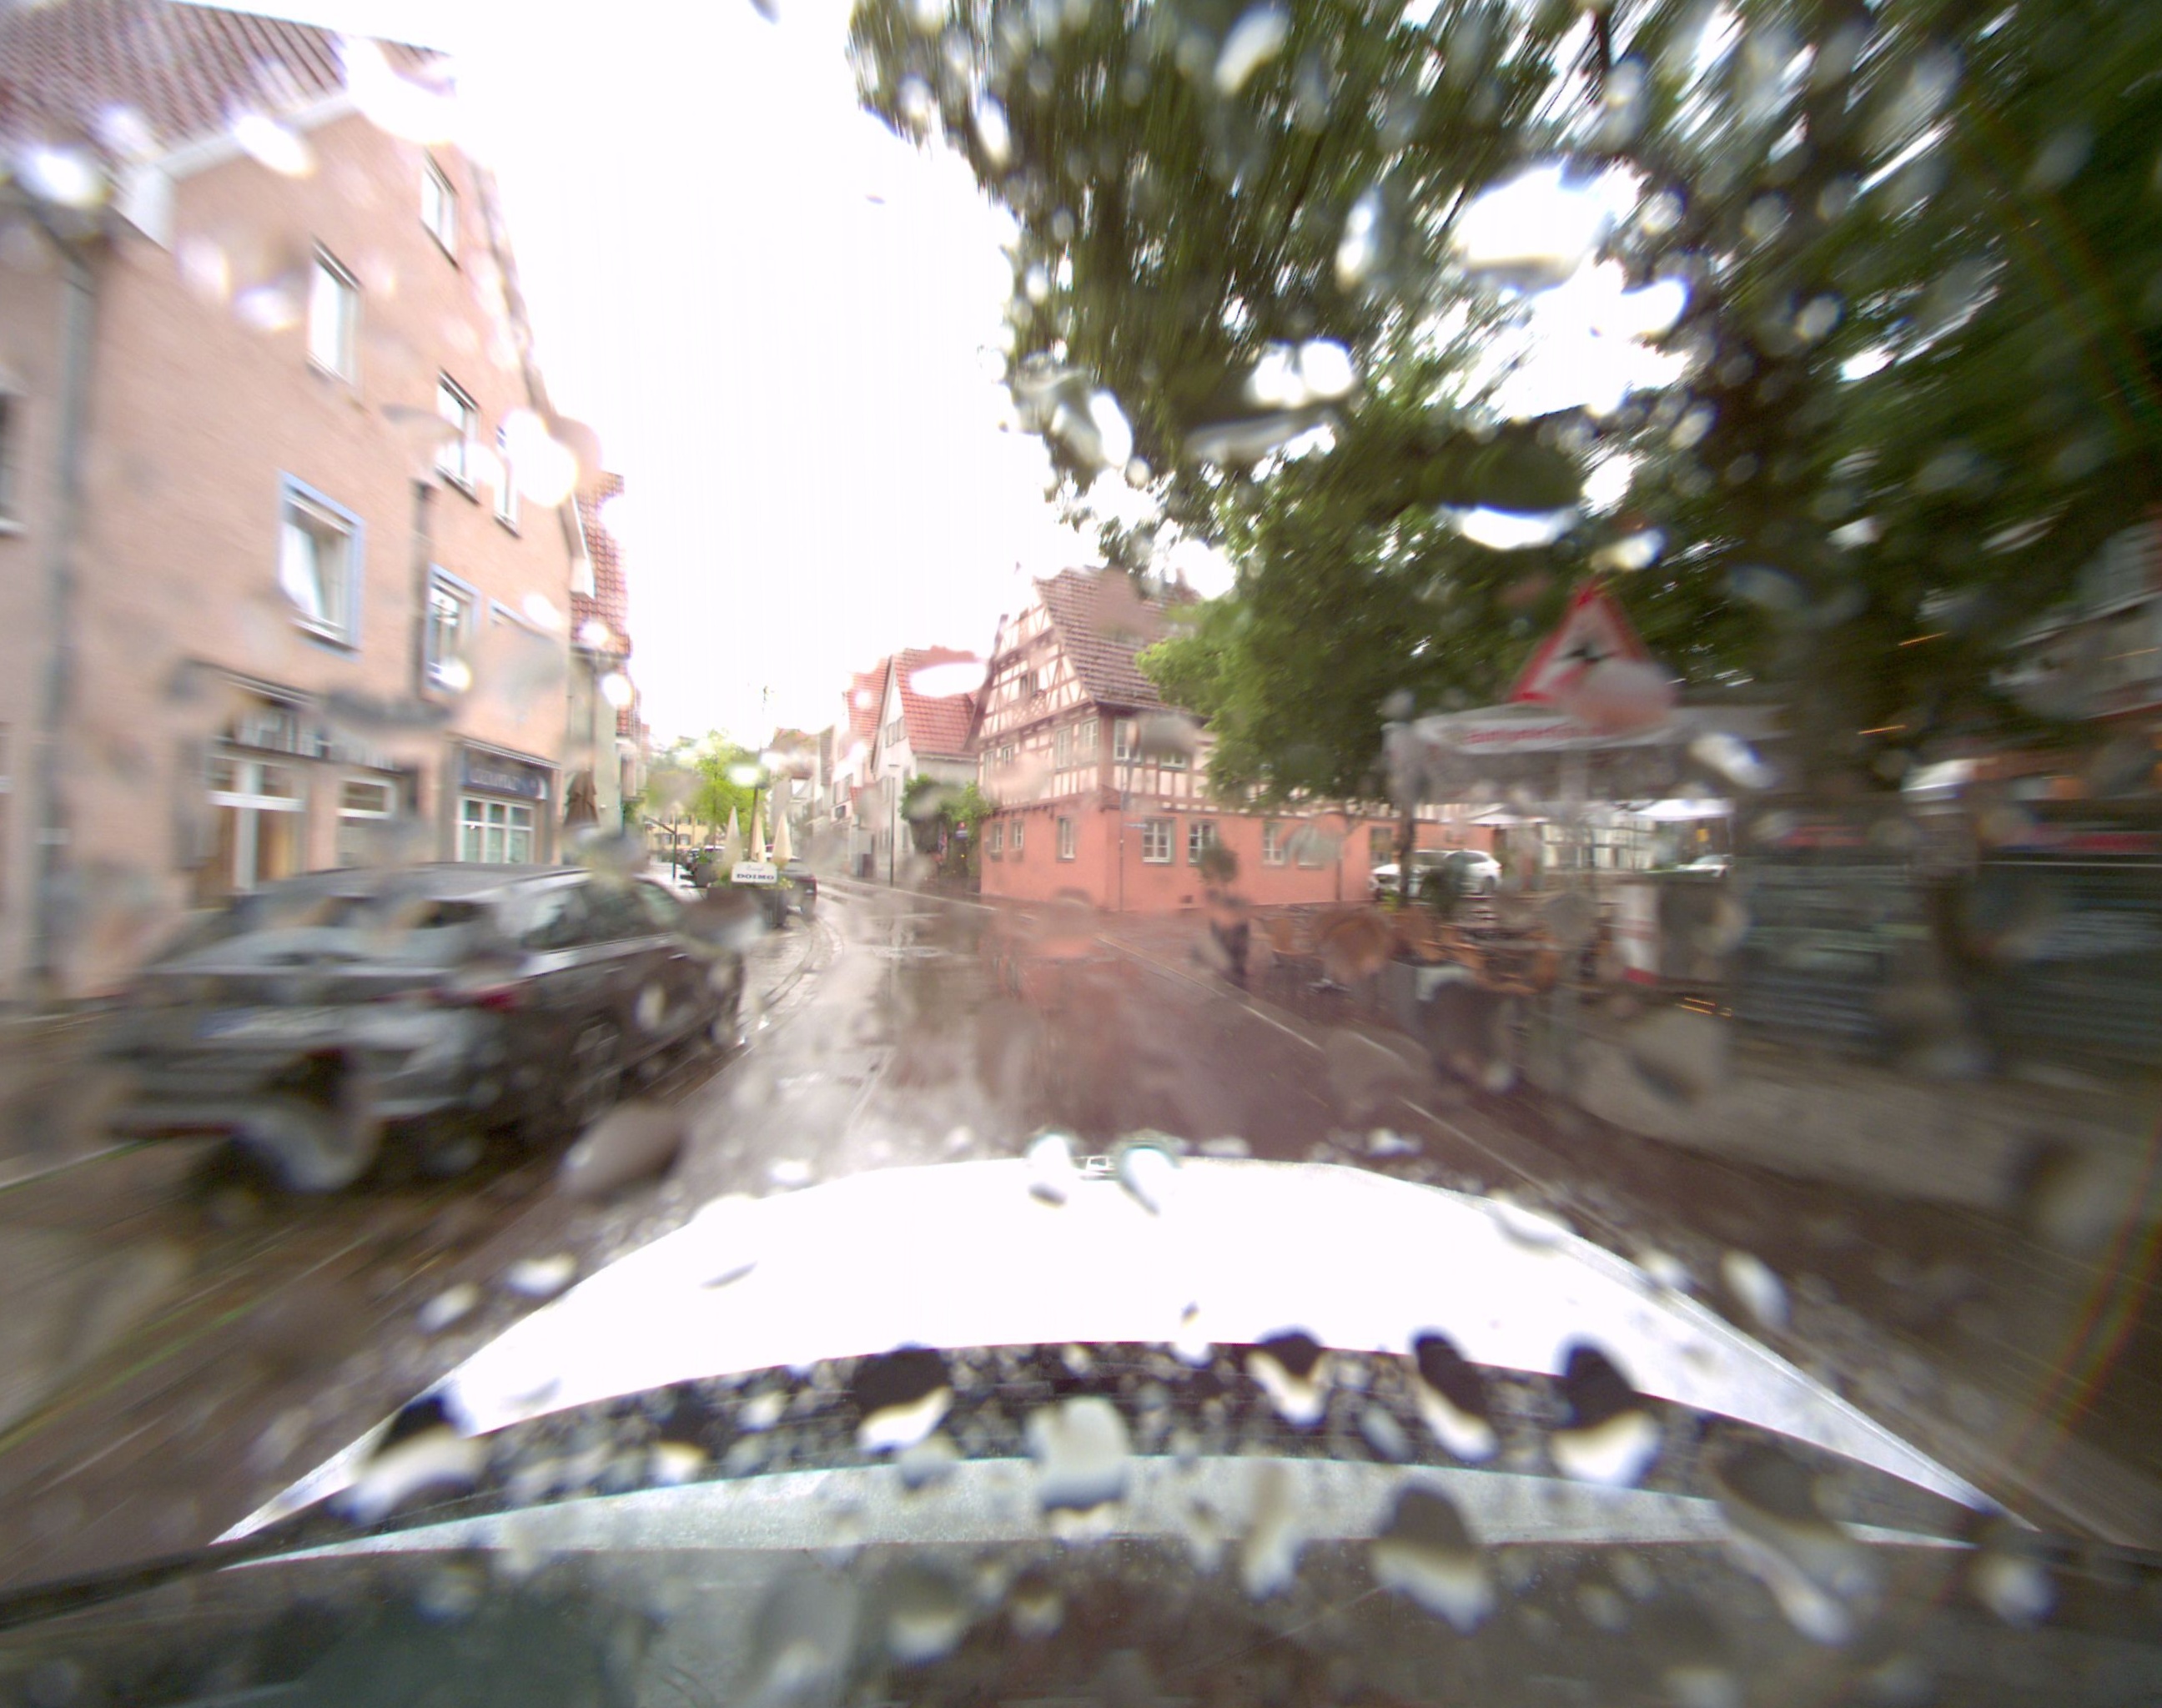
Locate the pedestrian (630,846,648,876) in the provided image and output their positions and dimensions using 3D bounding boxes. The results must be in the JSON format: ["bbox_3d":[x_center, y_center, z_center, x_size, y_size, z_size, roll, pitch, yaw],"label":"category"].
[{"bbox_3d":[-25.237,0.416,46.509,0.793,1.682,1.165,2,-3,-32],"label":"pedestrian"}]

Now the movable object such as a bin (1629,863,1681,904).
[{"bbox_3d":[15.715,0.813,22.314,0.881,1.111,0.849,2,-3,-28],"label":"movable object such as a bin"}]

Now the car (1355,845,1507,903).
[{"bbox_3d":[11.091,0.563,25.761,4.627,1.633,1.982,0,2,-28],"label":"car"}]

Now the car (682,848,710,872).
[{"bbox_3d":[-26.979,0.393,57.114,1.700,1.538,4.087,3,0,-25],"label":"car"}]

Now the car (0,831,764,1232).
[{"bbox_3d":[-3.683,0.736,5.431,1.874,1.540,4.388,2,-1,-8],"label":"car"}]

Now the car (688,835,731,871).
[{"bbox_3d":[-19.296,0.001,42.185,1.833,1.666,4.602,2,-2,-26],"label":"car"}]

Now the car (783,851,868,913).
[{"bbox_3d":[-6.654,0.664,21.481,1.866,1.442,4.594,1,0,-16],"label":"car"}]

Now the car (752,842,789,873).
[{"bbox_3d":[-19.865,0.209,52.016,1.903,1.811,3.967,3,-1,-25],"label":"car"}]

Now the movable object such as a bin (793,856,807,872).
[{"bbox_3d":[-19.238,0.673,55.687,0.797,1.081,0.609,1,-2,-30],"label":"movable object such as a bin"}]
